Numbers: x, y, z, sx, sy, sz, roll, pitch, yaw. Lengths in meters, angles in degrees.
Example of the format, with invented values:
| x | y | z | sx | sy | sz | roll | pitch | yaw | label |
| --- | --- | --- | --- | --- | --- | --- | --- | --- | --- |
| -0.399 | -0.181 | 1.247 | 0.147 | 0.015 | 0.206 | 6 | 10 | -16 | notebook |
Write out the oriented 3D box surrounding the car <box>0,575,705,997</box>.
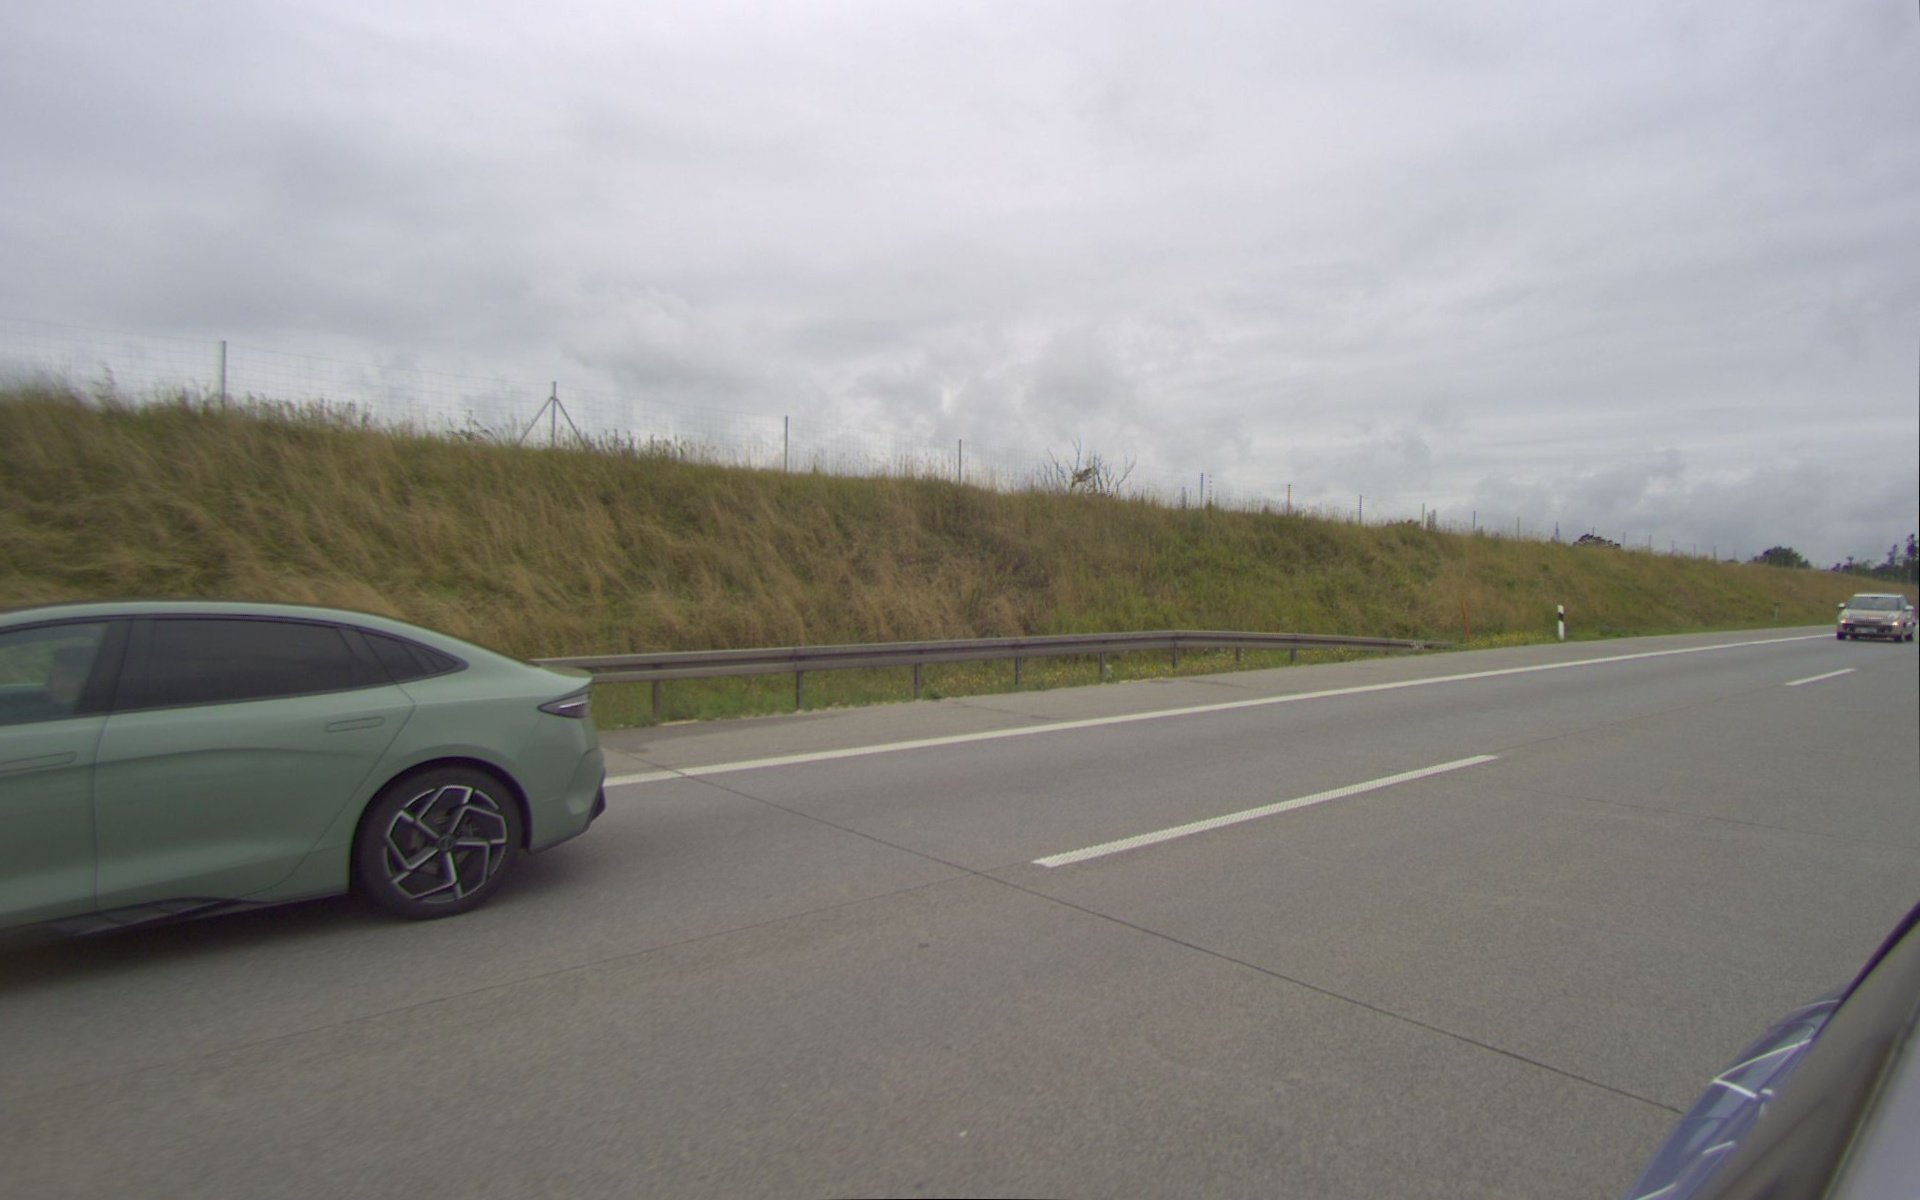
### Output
| x | y | z | sx | sy | sz | roll | pitch | yaw | label |
| --- | --- | --- | --- | --- | --- | --- | --- | --- | --- |
| -3.788 | 0.655 | 4.628 | 4.661 | 1.464 | 2.018 | 1 | 1 | -41 | car |

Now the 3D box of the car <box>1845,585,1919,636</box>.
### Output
| x | y | z | sx | sy | sz | roll | pitch | yaw | label |
| --- | --- | --- | --- | --- | --- | --- | --- | --- | --- |
| 32.553 | 0.355 | 35.345 | 4.489 | 1.625 | 1.789 | 1 | 1 | -40 | car |
